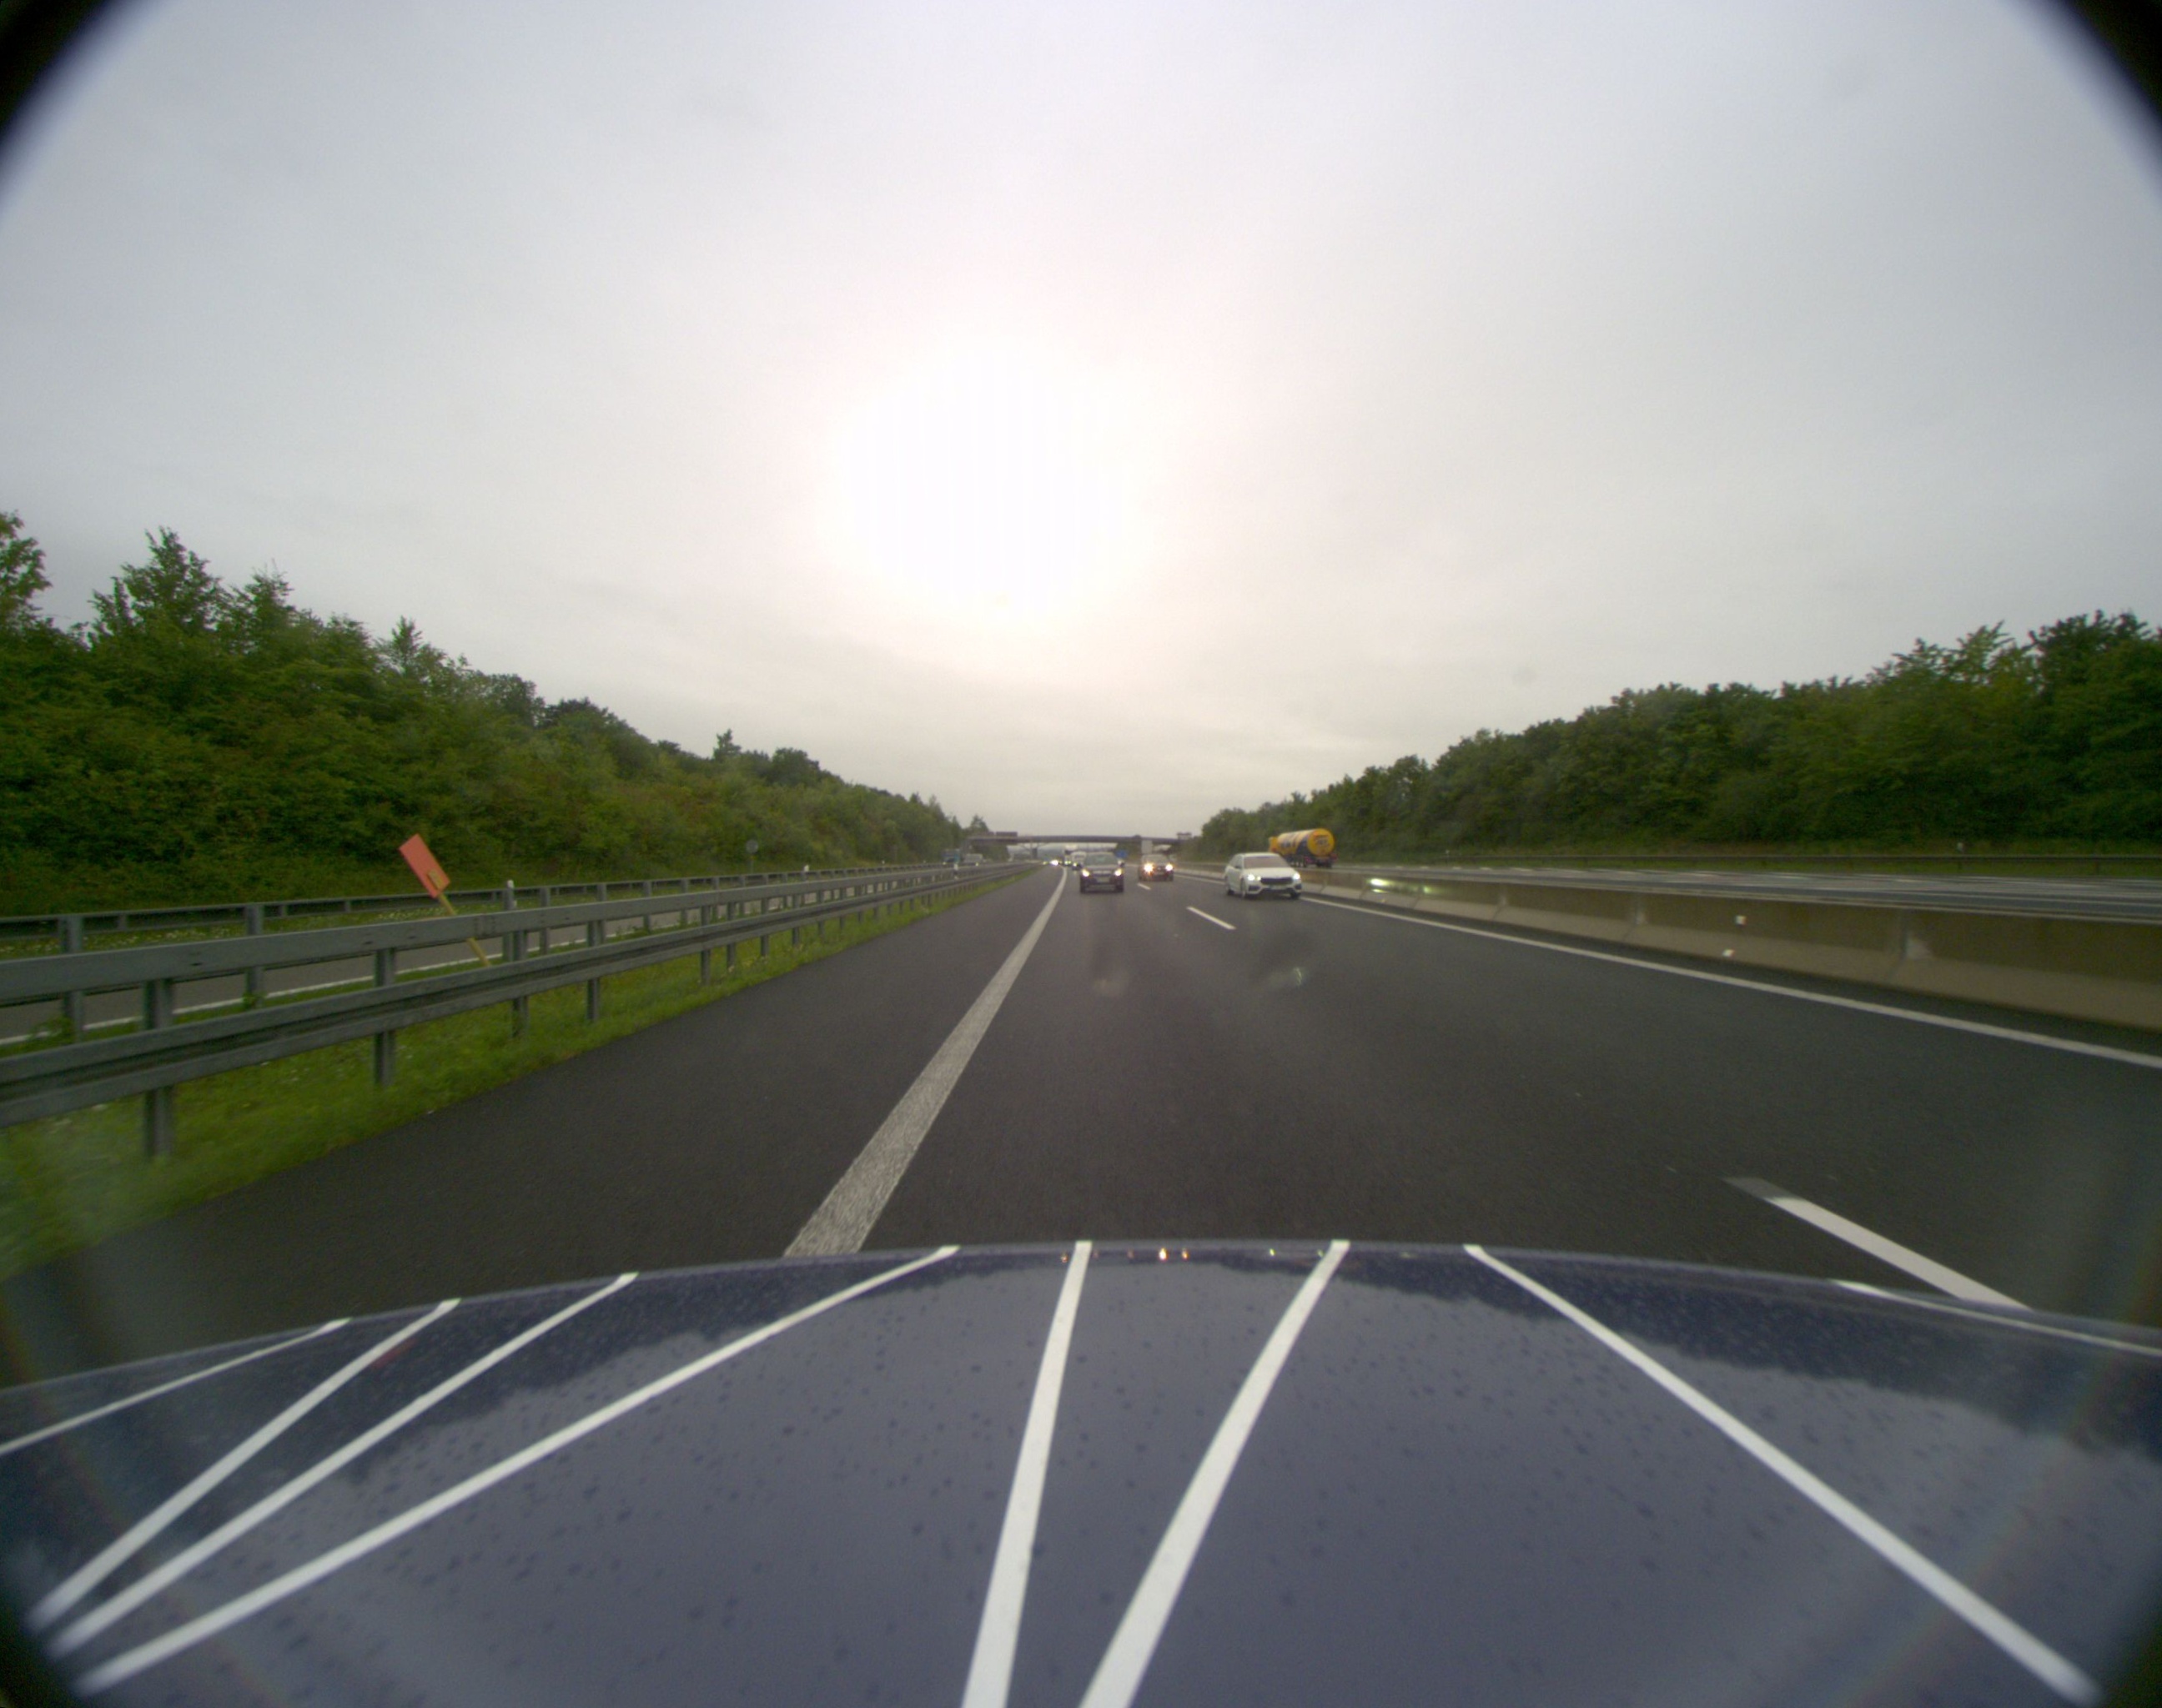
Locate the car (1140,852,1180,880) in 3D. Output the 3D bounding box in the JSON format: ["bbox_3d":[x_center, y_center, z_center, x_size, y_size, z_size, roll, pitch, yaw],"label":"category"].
[{"bbox_3d":[4.524,0.658,43.924,1.905,1.497,4.114,-1,0,1],"label":"car"}]

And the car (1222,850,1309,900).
[{"bbox_3d":[6.009,0.632,25.209,1.905,1.497,4.114,-1,0,1],"label":"car"}]

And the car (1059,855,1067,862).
[{"bbox_3d":[-4.711,1.226,197.326,1.917,1.671,4.000,-1,0,1],"label":"car"}]

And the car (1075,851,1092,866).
[{"bbox_3d":[0.313,0.485,87.629,1.825,1.669,4.000,-1,0,1],"label":"car"}]

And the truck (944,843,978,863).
[{"bbox_3d":[-21.298,-0.170,135.680,2.907,3.397,13.357,-1,0,4],"label":"truck"}]

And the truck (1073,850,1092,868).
[{"bbox_3d":[0.201,0.610,94.489,2.175,2.214,5.642,-1,0,0],"label":"truck"}]

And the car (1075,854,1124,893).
[{"bbox_3d":[0.771,0.783,32.155,1.905,1.497,4.114,-1,0,1],"label":"car"}]

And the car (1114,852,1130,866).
[{"bbox_3d":[5.144,0.651,96.277,1.716,1.724,3.999,-1,0,-1],"label":"car"}]

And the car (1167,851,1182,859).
[{"bbox_3d":[20.676,0.131,168.467,2.187,1.686,4.564,-1,0,-8],"label":"car"}]

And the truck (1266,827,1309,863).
[{"bbox_3d":[20.491,-0.860,75.661,2.768,3.378,5.845,-2,1,1],"label":"truck"}]

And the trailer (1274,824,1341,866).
[{"bbox_3d":[20.340,-0.806,69.048,2.768,3.378,11.447,-2,0,1],"label":"trailer"}]

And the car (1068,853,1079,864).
[{"bbox_3d":[-1.305,0.771,128.648,1.716,1.724,3.999,-1,0,-1],"label":"car"}]

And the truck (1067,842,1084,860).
[{"bbox_3d":[-1.065,-0.620,146.596,3.154,3.332,13.098,-1,0,-1],"label":"truck"}]

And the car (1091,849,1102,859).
[{"bbox_3d":[3.073,-0.044,151.458,1.998,2.002,4.037,-1,0,1],"label":"car"}]
